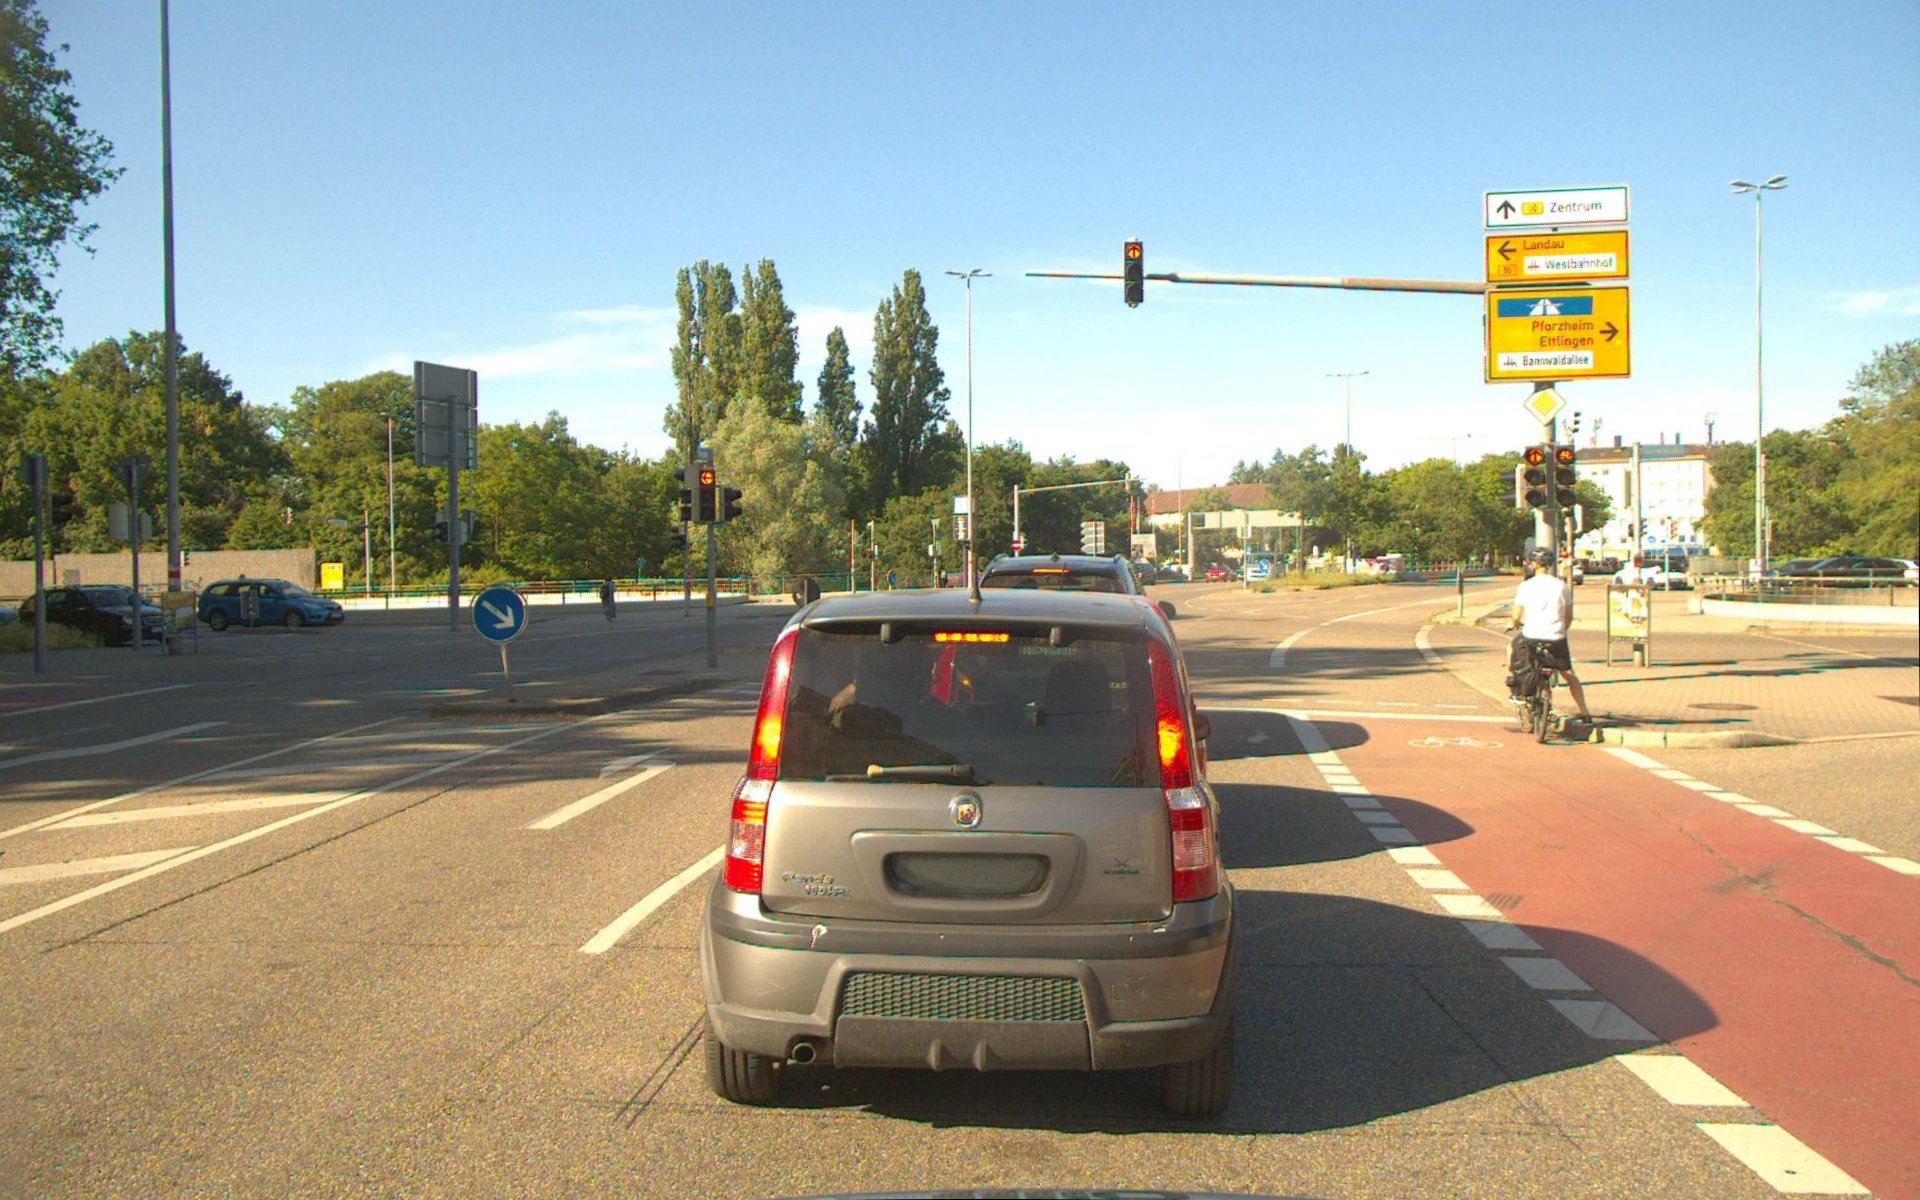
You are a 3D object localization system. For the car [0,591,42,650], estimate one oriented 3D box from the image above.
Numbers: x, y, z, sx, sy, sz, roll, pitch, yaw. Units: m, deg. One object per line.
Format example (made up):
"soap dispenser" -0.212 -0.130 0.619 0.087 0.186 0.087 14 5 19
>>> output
"car" -26.407 0.561 43.286 4.345 1.464 1.826 -1 1 22

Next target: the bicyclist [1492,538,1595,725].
"bicyclist" 5.680 0.278 16.073 0.784 1.734 1.084 1 1 28

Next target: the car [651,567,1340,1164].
"car" 0.186 0.668 6.374 1.782 1.515 4.002 2 1 3

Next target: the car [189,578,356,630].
"car" -20.703 0.110 49.876 4.341 1.464 1.828 -1 1 12

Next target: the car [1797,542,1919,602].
"car" 33.206 -0.996 60.955 3.922 2.049 1.991 -1 -2 38

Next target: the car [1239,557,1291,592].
"car" 18.094 -1.465 97.921 1.972 1.887 4.884 0 -2 23

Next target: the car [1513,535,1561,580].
"car" 37.278 -2.701 106.803 2.210 2.653 4.879 -1 -2 27

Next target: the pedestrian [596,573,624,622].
"pedestrian" -11.816 -0.083 55.875 0.673 1.565 1.365 0 -4 -3

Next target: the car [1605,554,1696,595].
"car" 33.397 -1.212 80.074 1.963 1.781 3.979 1 -2 -18

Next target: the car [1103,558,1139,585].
"car" 12.125 -2.120 124.316 1.970 1.887 4.433 0 -2 16

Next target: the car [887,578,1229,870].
"car" 0.588 0.638 10.736 1.782 1.505 4.001 1 0 2

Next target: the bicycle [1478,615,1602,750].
"bicycle" 5.661 0.750 16.047 0.784 1.130 2.399 1 1 28

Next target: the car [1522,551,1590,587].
"car" 32.618 -1.663 90.592 1.955 1.781 3.994 0 -1 -6

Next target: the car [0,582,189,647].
"car" -21.011 0.352 39.938 4.345 1.464 1.826 -1 1 22

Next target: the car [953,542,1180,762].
"car" 1.176 0.390 16.124 1.829 1.821 4.418 1 1 8

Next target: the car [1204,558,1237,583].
"car" 21.740 -2.420 137.814 1.971 1.887 4.888 0 -2 18
